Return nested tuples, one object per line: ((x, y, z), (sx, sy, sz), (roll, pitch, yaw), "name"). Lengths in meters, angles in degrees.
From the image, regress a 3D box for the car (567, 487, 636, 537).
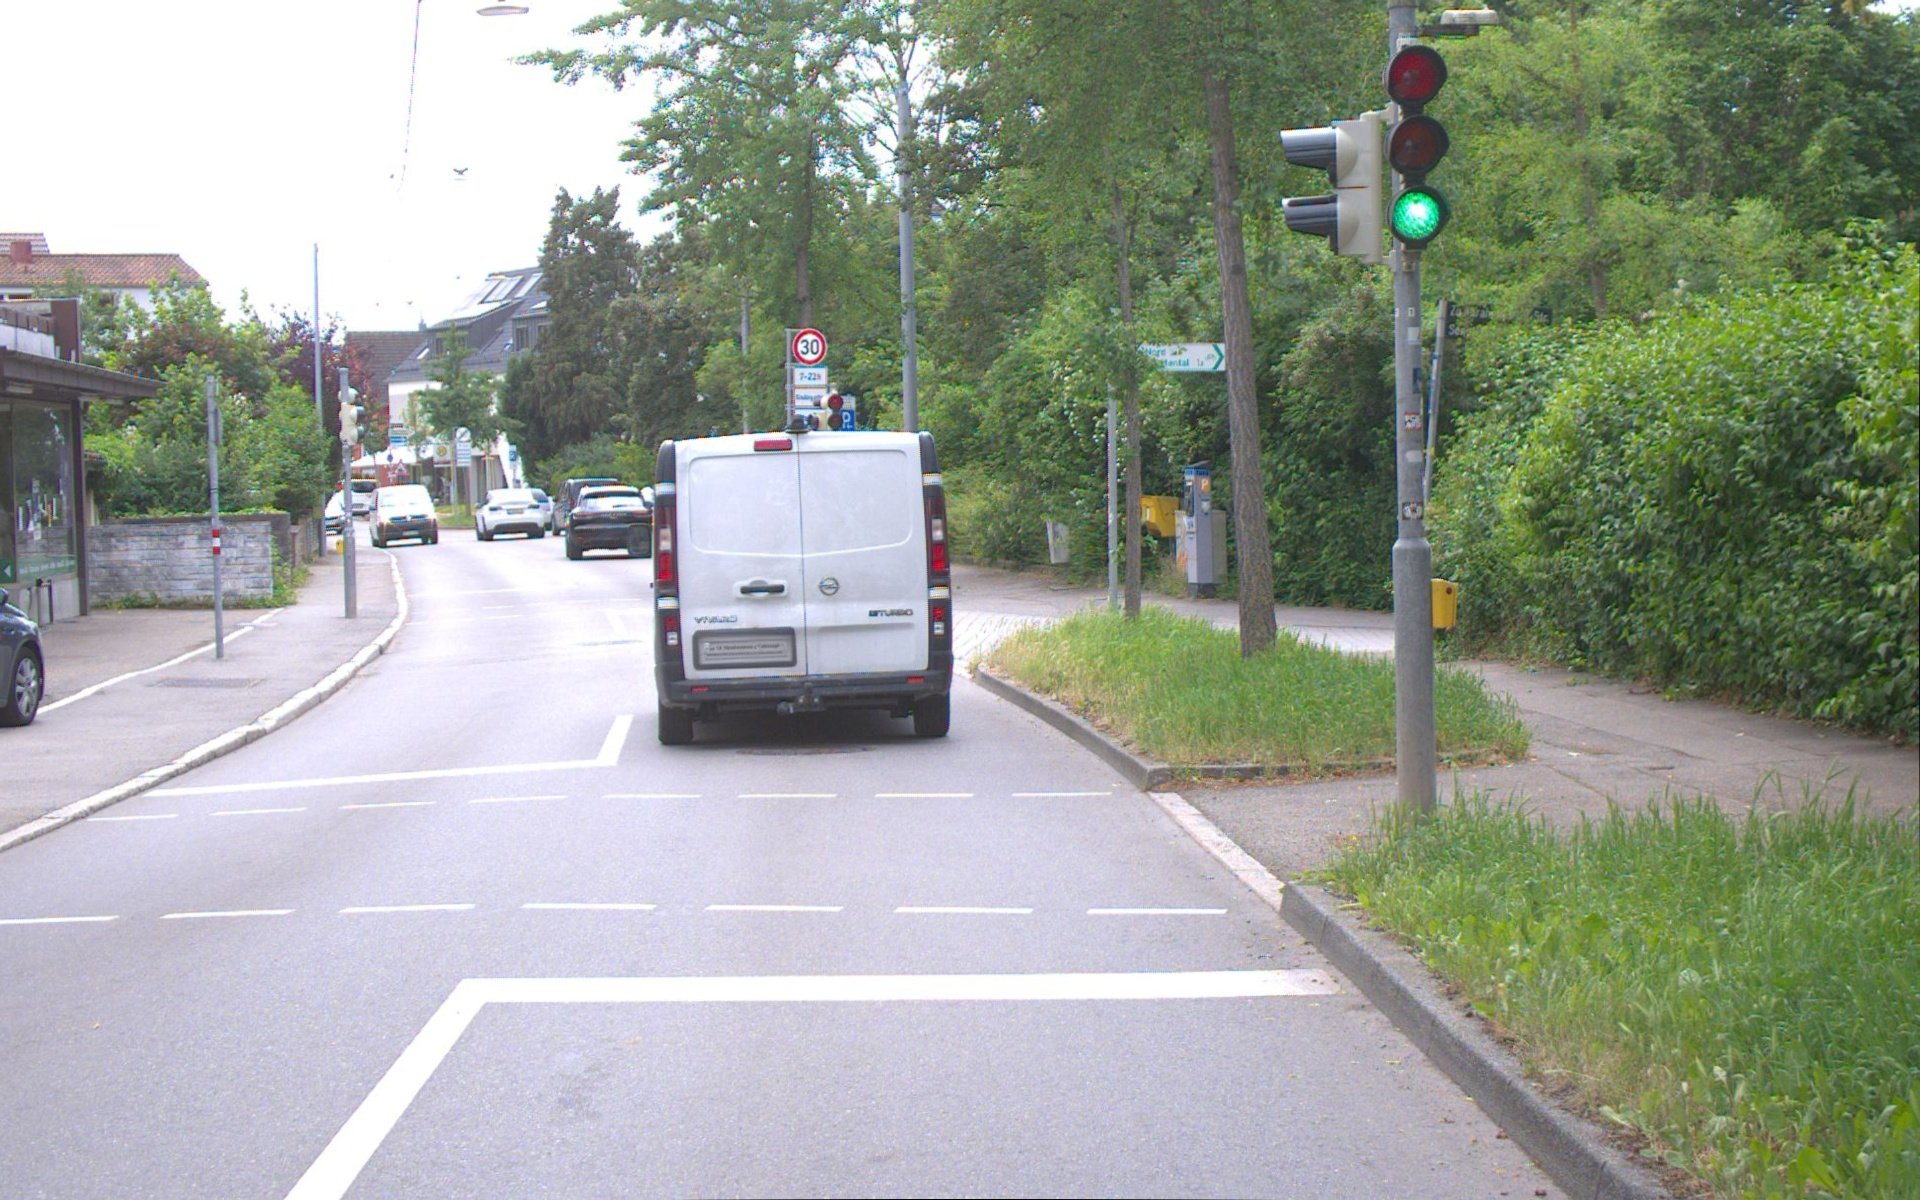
((-11.745, -2.881, 112.512), (1.893, 1.605, 4.501), (-1, 2, -10), "car")

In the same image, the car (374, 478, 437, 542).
((-18.046, -2.942, 111.943), (1.867, 1.904, 5.117), (-4, 3, -9), "car")

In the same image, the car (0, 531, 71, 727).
((-8.012, 0.213, 24.542), (1.780, 1.436, 4.525), (1, 1, 5), "car")

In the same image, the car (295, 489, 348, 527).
((-27.073, -3.917, 145.775), (1.883, 1.507, 4.114), (-3, 2, -14), "car")

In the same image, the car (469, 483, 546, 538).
((-14.589, -2.868, 110.646), (1.824, 1.722, 4.001), (-1, 2, -17), "car")

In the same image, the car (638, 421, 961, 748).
((-1.086, -0.152, 22.986), (1.930, 1.957, 4.402), (-1, 2, -3), "car")

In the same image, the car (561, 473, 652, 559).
((-7.898, -1.893, 77.124), (1.896, 1.853, 4.405), (-1, 2, -4), "car")
